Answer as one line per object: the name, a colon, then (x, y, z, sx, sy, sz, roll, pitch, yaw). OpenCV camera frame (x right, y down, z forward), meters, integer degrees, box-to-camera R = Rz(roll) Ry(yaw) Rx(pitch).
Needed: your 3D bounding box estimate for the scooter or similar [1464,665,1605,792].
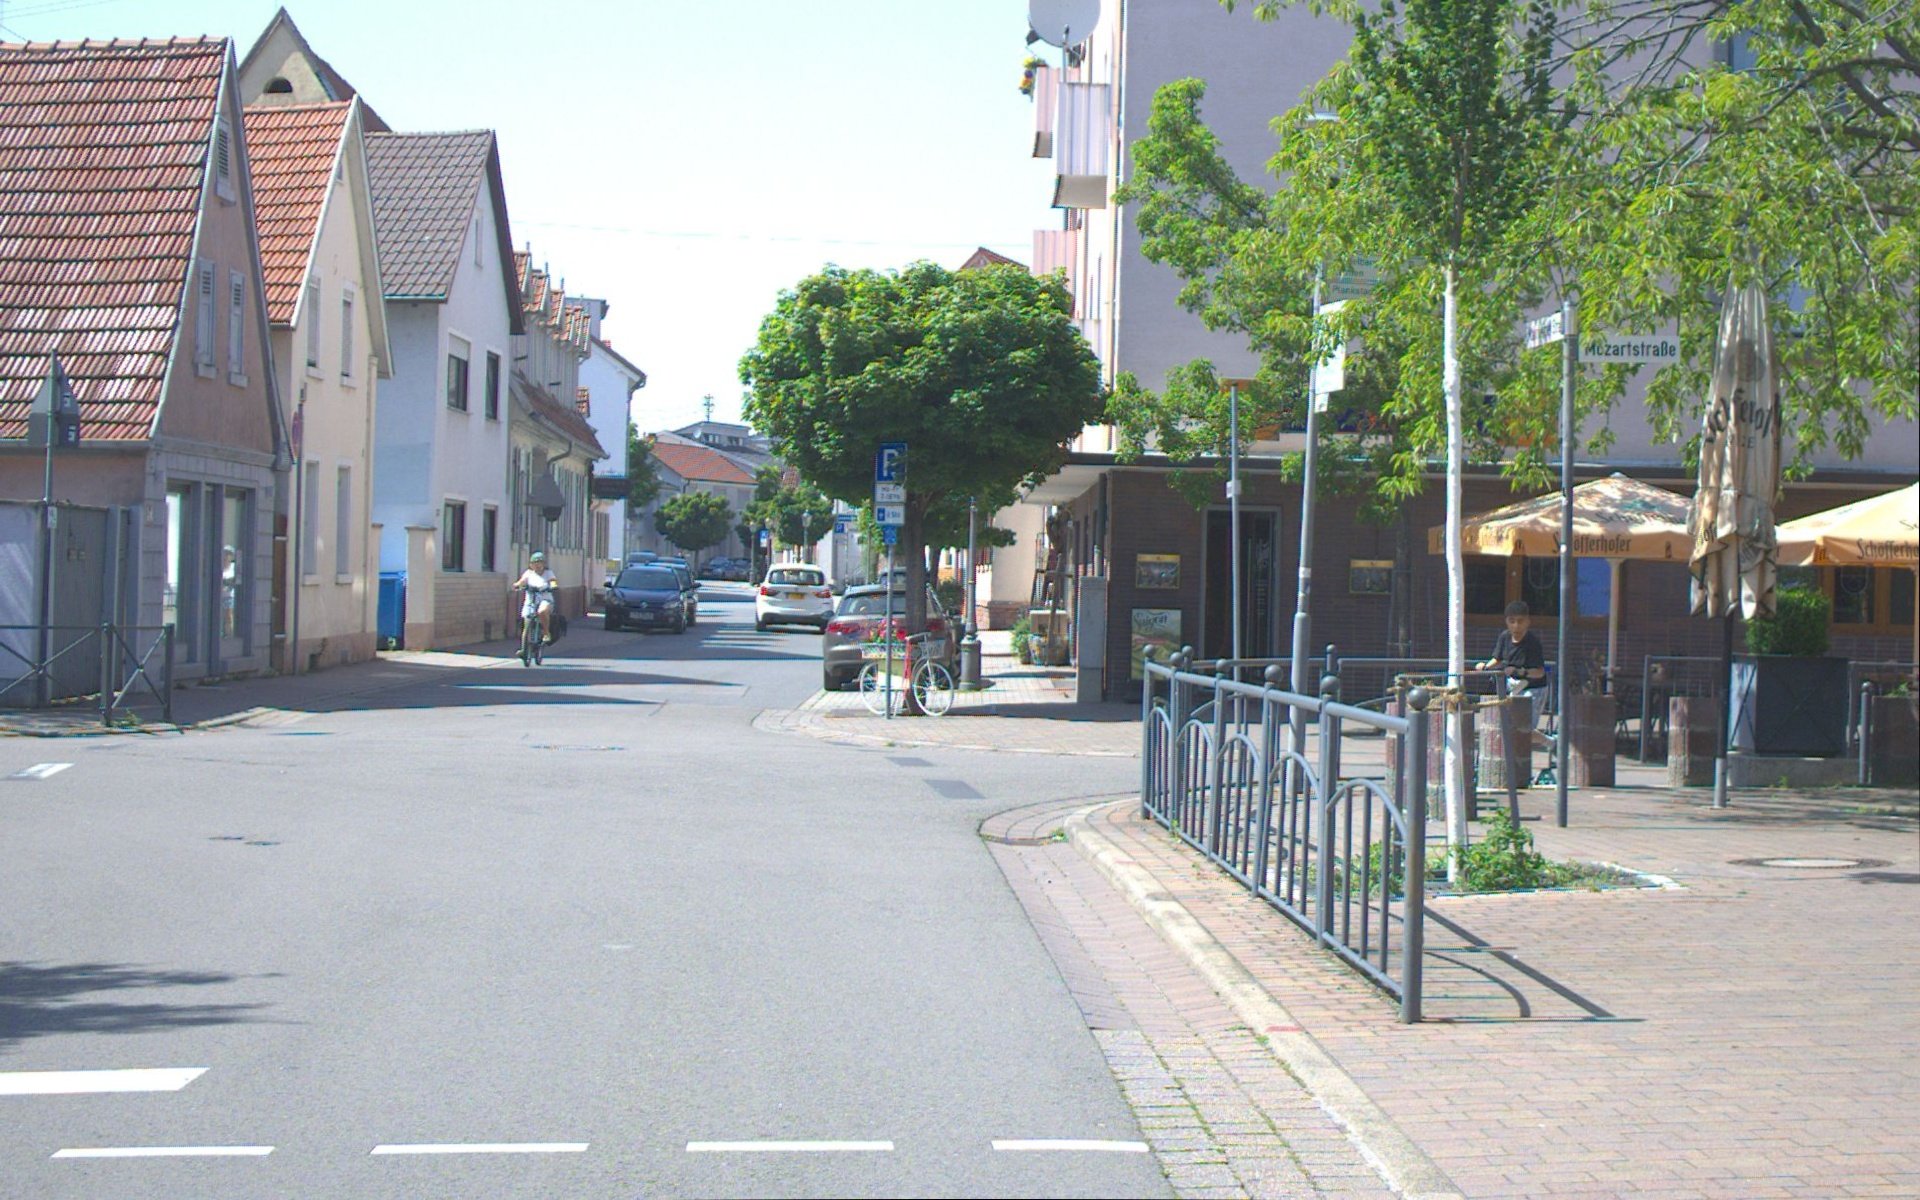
scooter or similar: (4.024, 0.899, 24.086, 0.887, 0.870, 0.380, 1, 0, -21)

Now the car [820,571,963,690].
car: (-0.906, 0.382, 47.402, 1.805, 1.496, 4.000, 1, 1, 1)

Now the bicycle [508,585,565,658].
bicycle: (-6.484, 0.324, 52.697, 0.674, 1.090, 1.896, 0, 0, -1)

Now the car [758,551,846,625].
car: (-3.698, -0.292, 81.056, 1.834, 1.646, 4.000, 1, 0, 0)

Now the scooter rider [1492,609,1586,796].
scooter rider: (4.049, 0.715, 24.061, 0.416, 1.281, 0.518, 1, 0, -21)

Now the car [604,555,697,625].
car: (-7.006, -0.230, 78.208, 1.714, 1.512, 3.786, 1, 0, 0)

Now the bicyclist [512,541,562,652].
bicyclist: (-6.473, -0.051, 52.664, 0.669, 1.685, 0.761, 0, 0, -1)

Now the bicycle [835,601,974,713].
bicycle: (-0.635, 0.632, 38.631, 0.525, 1.189, 1.674, 1, 0, -44)
